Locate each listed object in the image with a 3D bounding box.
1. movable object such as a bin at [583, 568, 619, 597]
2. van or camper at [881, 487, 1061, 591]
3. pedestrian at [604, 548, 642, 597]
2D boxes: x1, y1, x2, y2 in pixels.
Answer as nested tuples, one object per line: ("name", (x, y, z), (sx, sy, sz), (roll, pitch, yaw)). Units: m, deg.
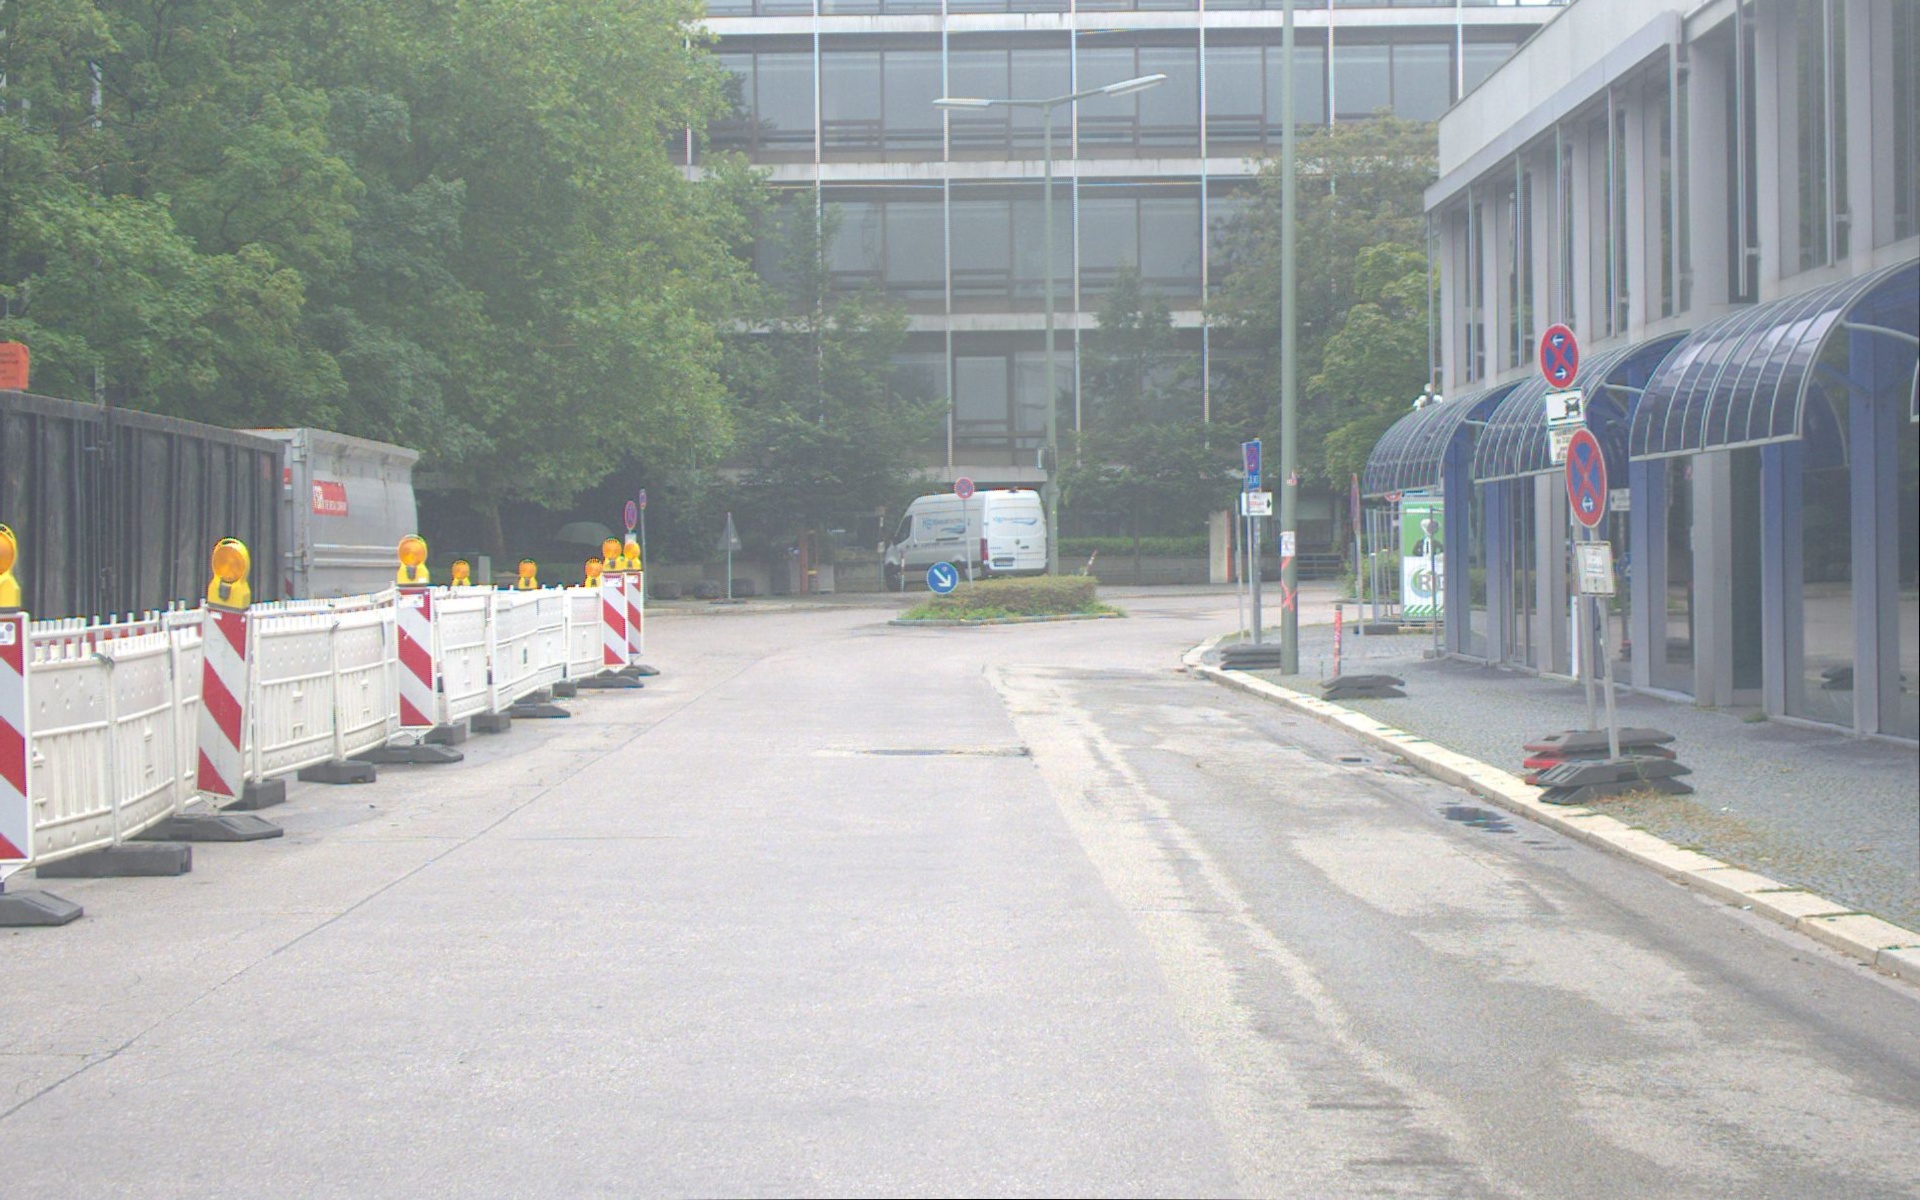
("movable object such as a bin", (-9.415, -0.463, 90.180), (0.834, 0.751, 0.572), (0, 1, 3))
("van or camper", (0.229, -1.595, 92.304), (2.155, 2.572, 6.540), (-1, -1, -26))
("pedestrian", (-8.850, -0.716, 90.210), (0.926, 1.273, 0.542), (0, 1, 2))
